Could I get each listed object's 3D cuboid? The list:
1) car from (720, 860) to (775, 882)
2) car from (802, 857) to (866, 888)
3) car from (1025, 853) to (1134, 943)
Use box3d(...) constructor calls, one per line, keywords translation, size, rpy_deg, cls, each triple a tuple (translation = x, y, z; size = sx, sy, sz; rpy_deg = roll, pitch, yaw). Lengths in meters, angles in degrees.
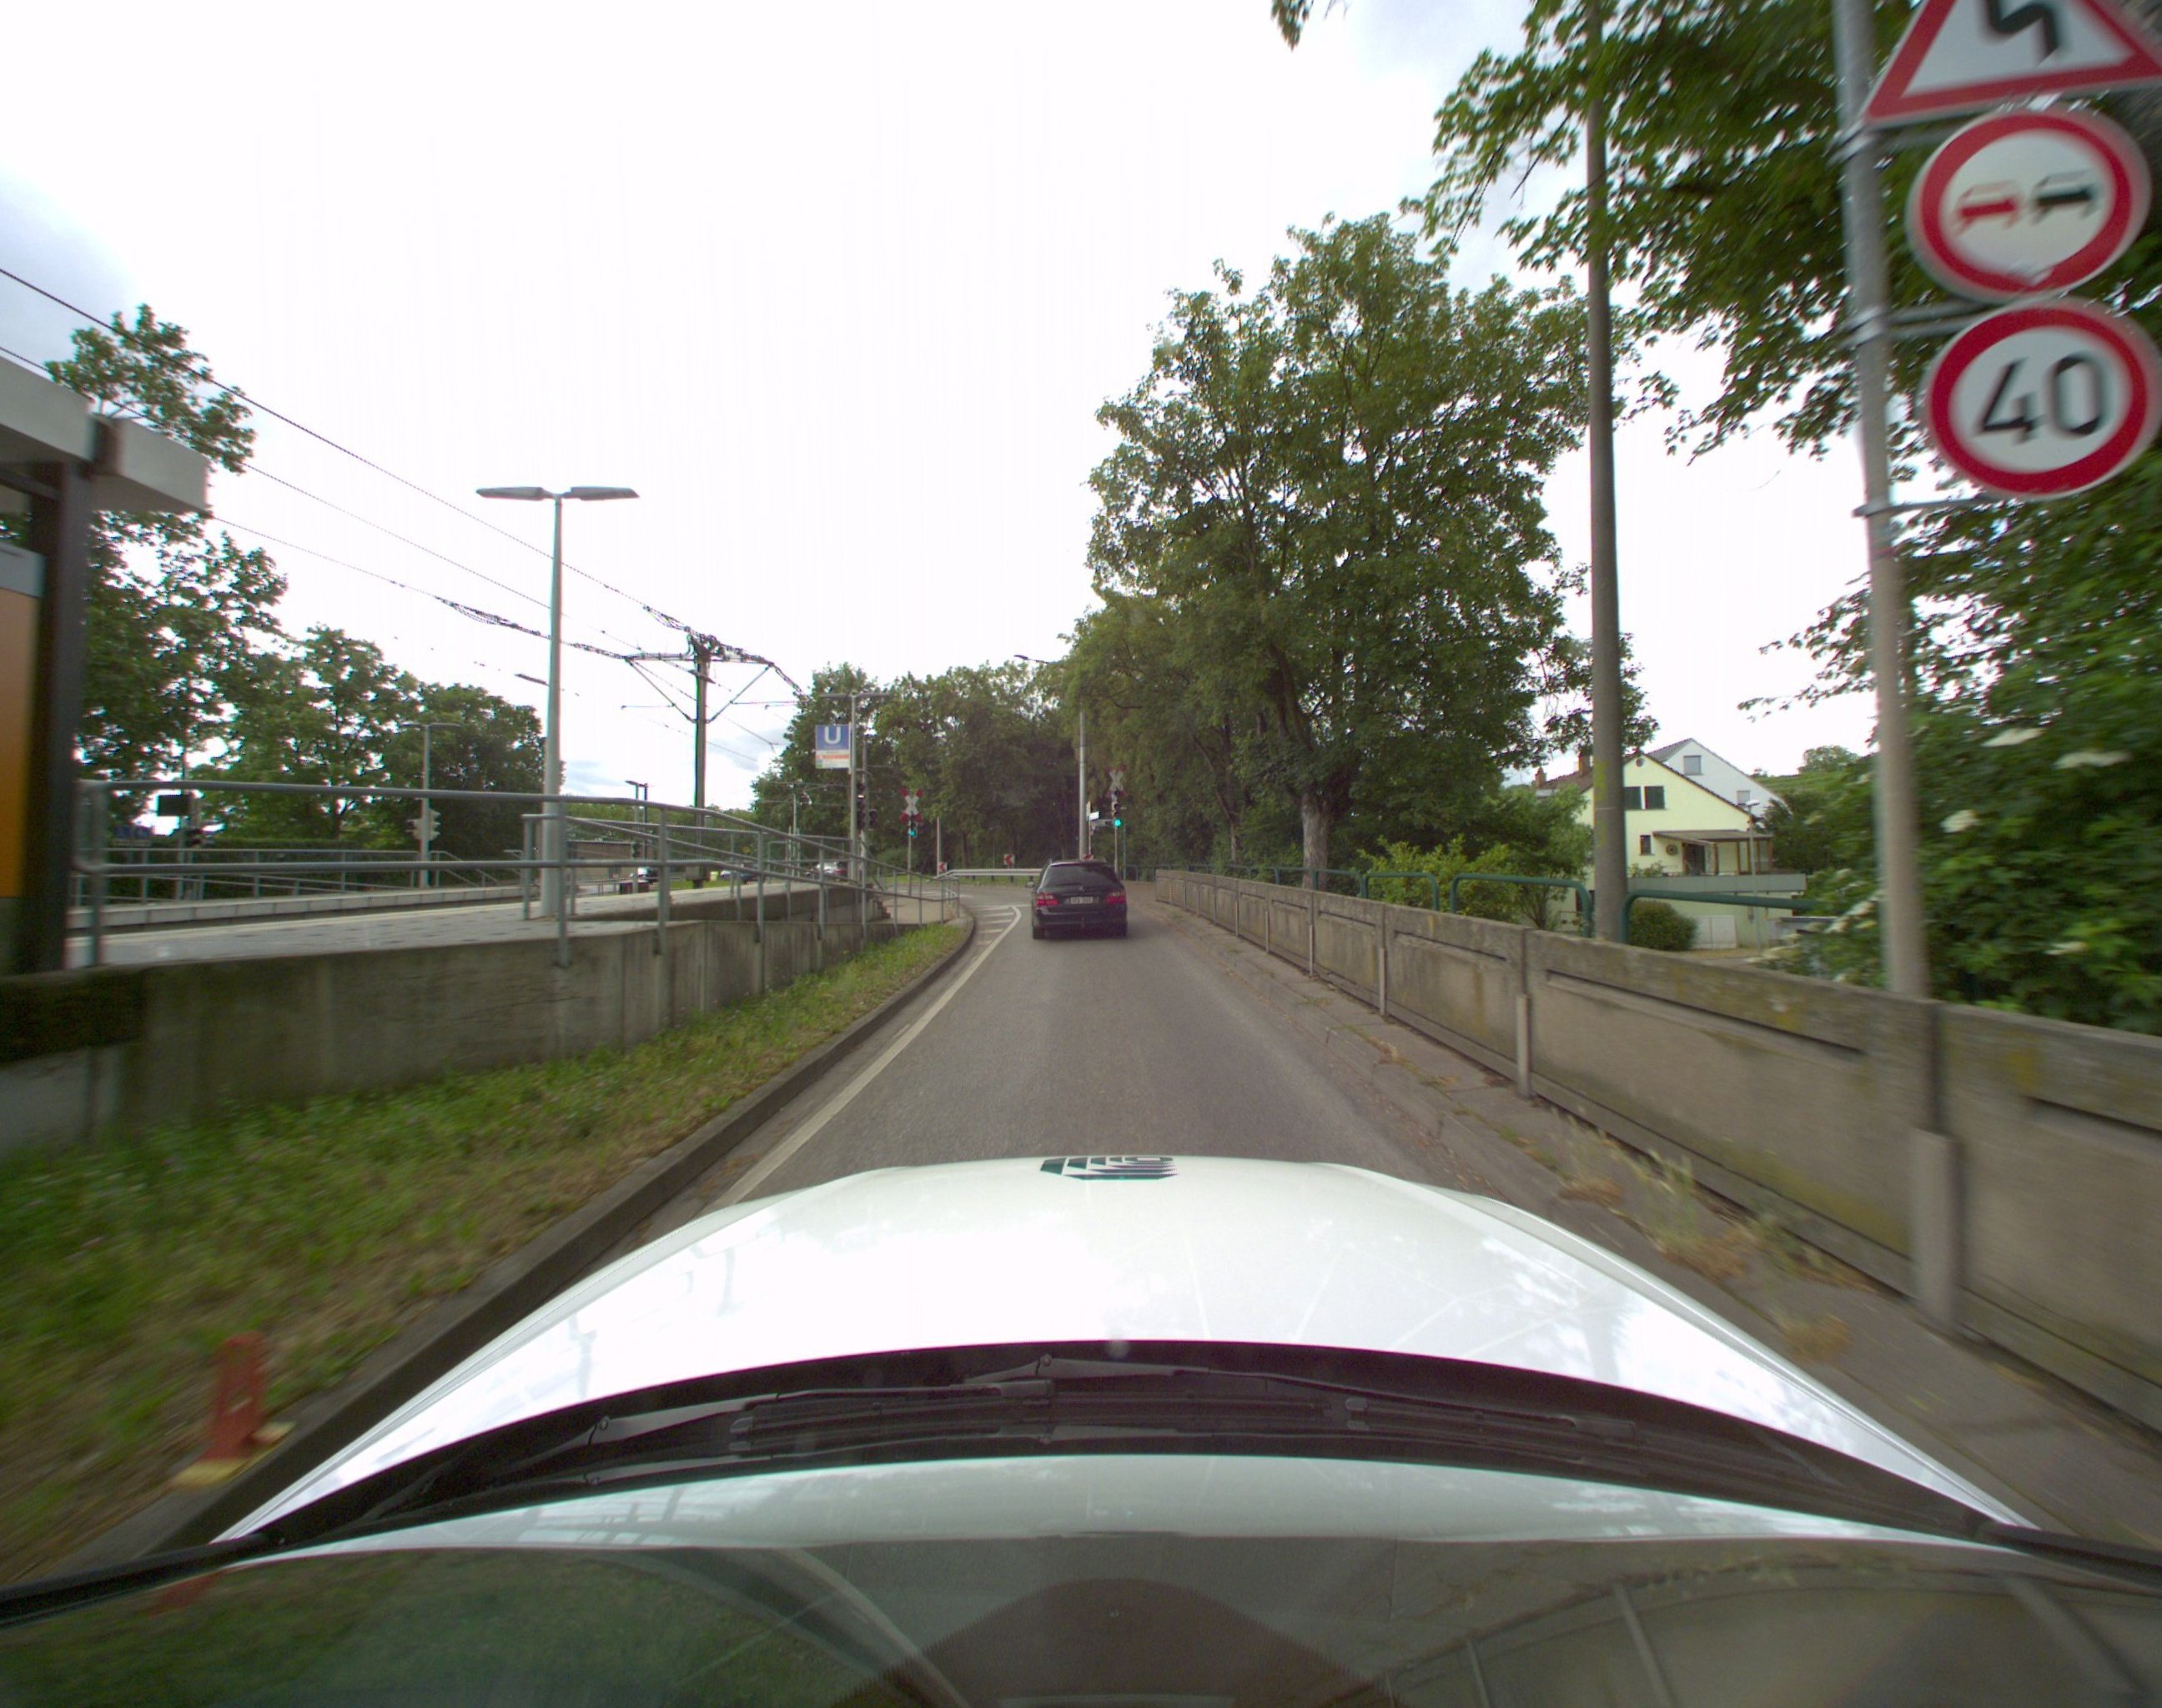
box3d(translation=(-22.216, 1.081, 54.163), size=(3.950, 1.399, 2.012), rpy_deg=(-1, 0, 44), cls="car")
box3d(translation=(-13.828, 0.982, 45.553), size=(1.798, 1.648, 3.950), rpy_deg=(0, 0, -45), cls="car")
box3d(translation=(-0.160, 0.796, 16.339), size=(1.779, 1.525, 3.992), rpy_deg=(-2, -1, -6), cls="car")
